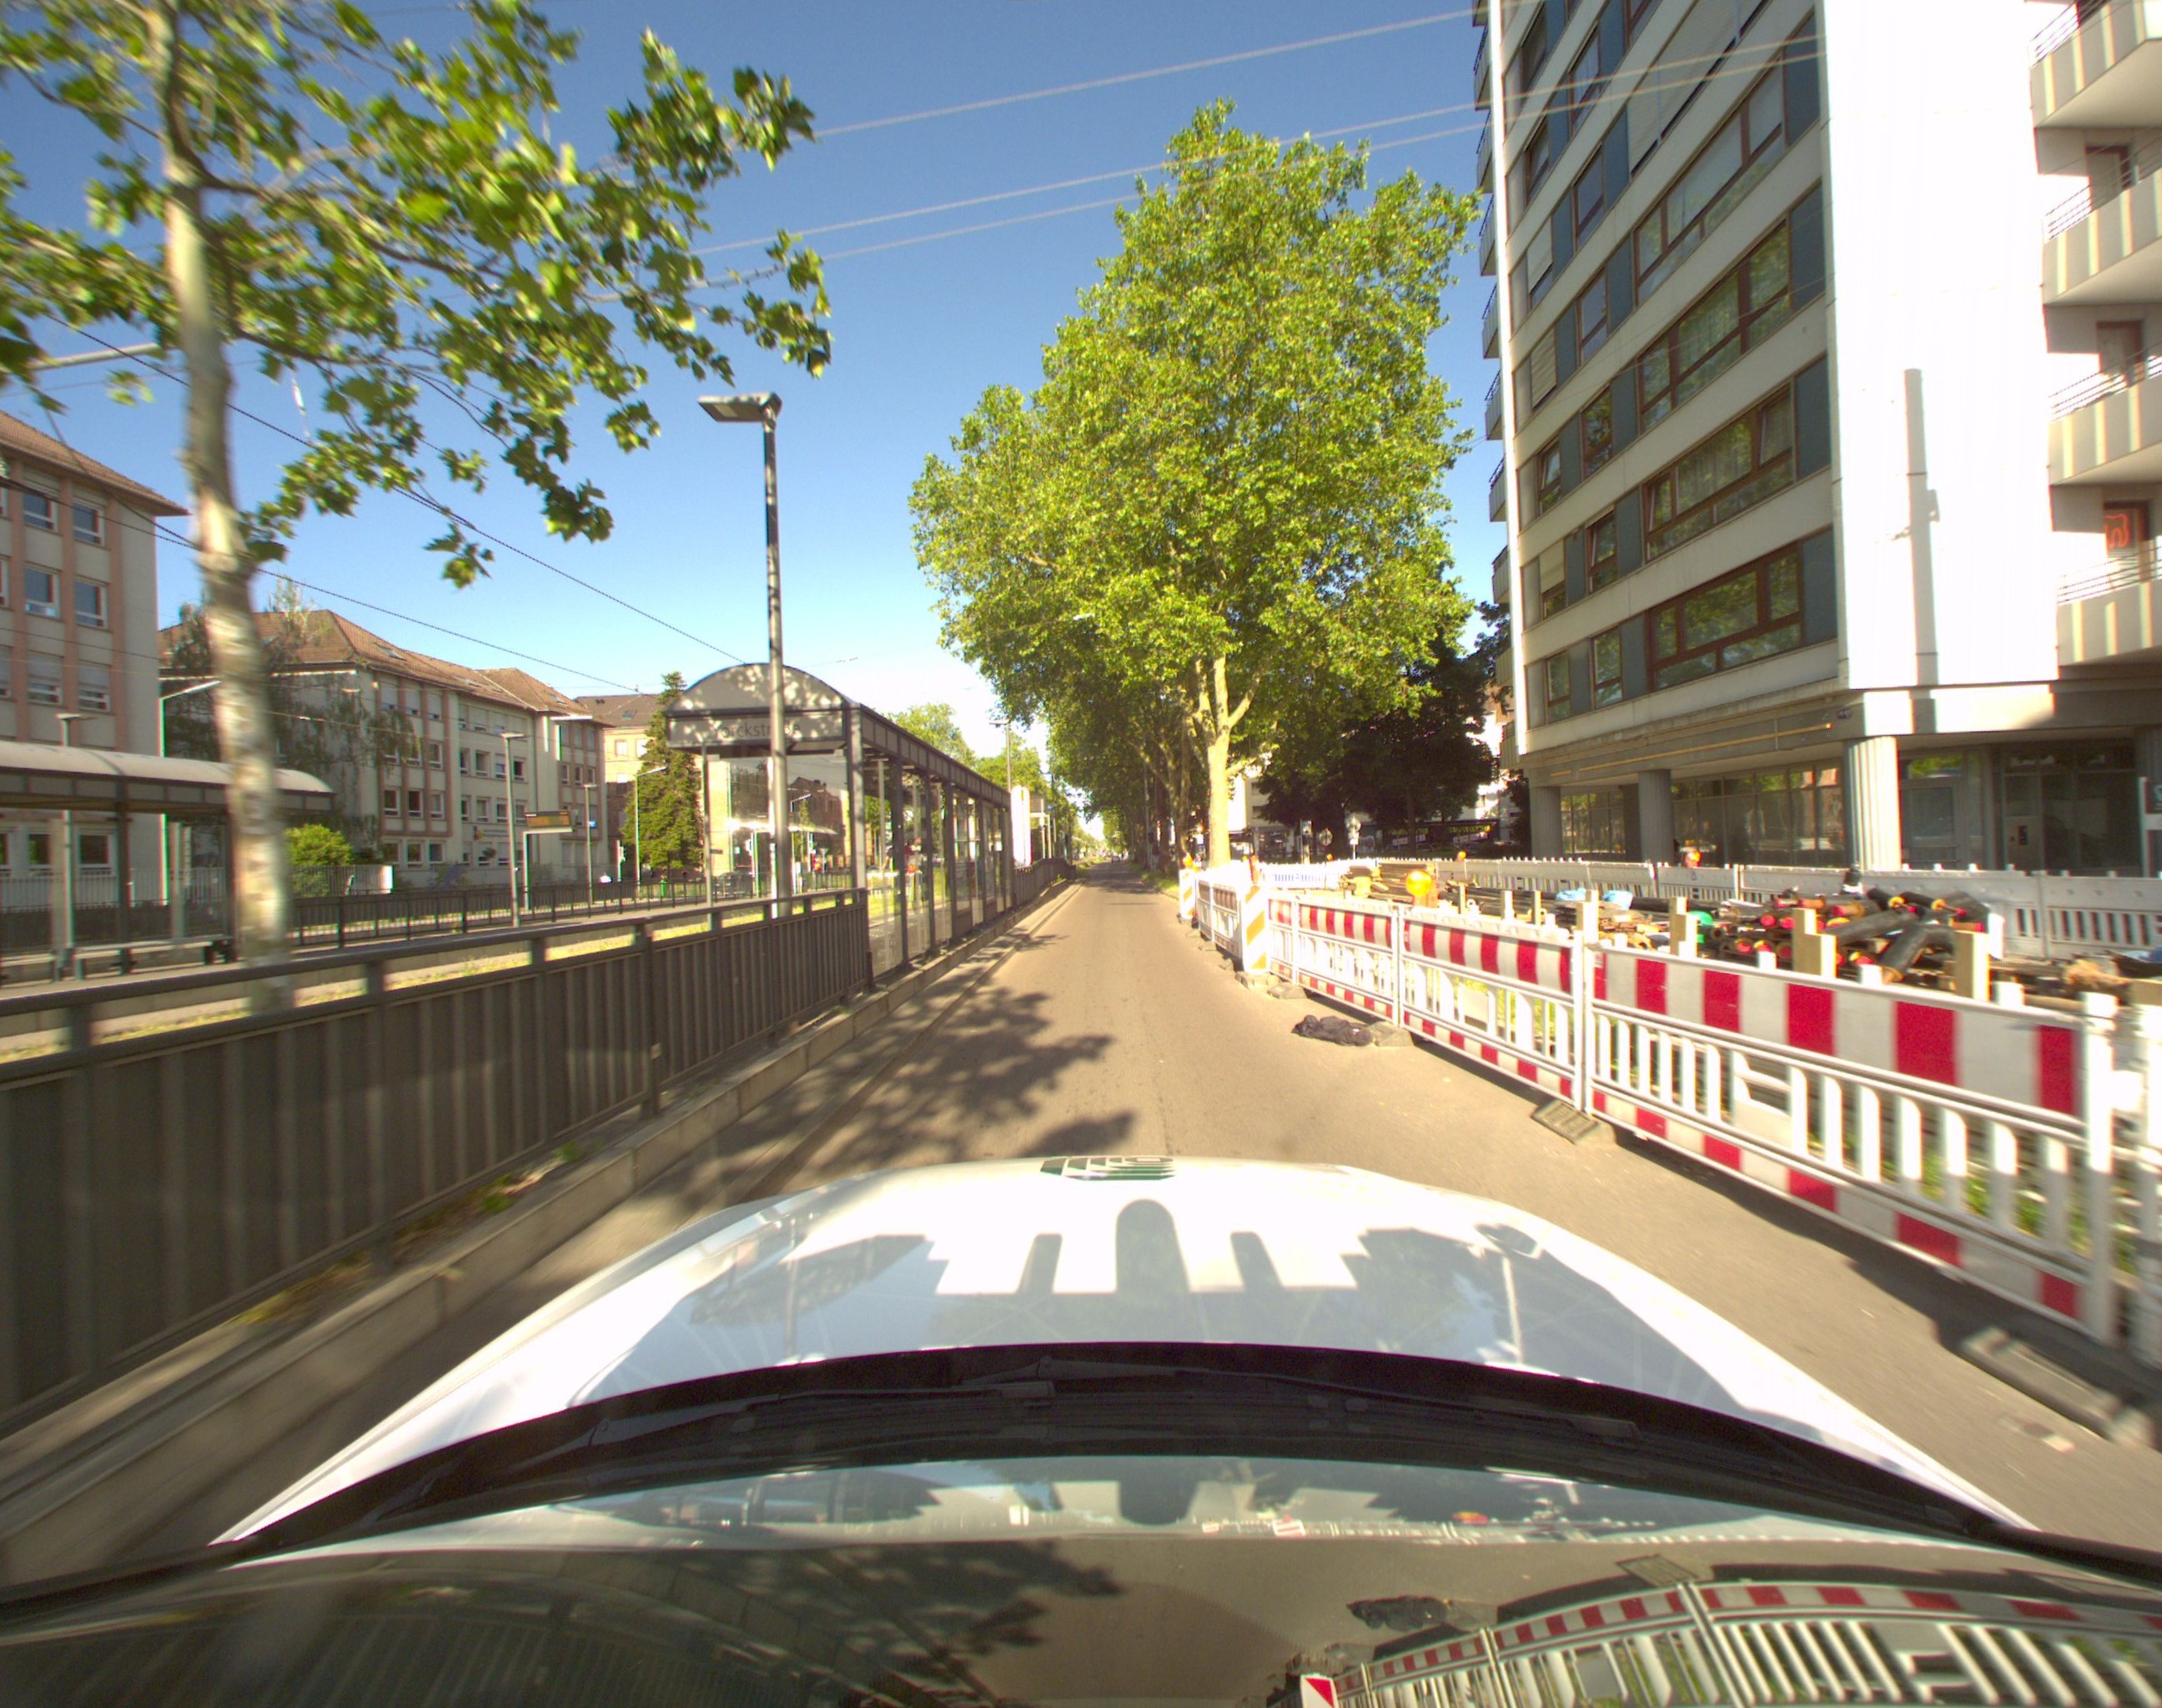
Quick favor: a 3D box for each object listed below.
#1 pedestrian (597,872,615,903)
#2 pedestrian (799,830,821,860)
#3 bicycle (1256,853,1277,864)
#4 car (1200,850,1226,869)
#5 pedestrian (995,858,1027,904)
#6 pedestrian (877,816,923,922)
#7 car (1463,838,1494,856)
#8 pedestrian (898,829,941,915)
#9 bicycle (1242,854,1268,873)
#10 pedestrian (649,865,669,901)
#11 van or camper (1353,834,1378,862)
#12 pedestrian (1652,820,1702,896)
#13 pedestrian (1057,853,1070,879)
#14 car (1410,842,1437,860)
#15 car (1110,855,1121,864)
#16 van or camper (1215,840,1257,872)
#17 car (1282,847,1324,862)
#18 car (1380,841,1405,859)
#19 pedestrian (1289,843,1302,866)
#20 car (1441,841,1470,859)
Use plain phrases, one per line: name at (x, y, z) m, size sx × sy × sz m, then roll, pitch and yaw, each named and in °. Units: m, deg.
pedestrian at (-28.565, 2.028, 49.017) m, size 0.690 × 1.837 × 0.573 m, roll -2°, pitch 0°, yaw 1°
pedestrian at (-16.301, -0.543, 49.027) m, size 0.948 × 1.736 × 0.731 m, roll -2°, pitch 0°, yaw 4°
bicycle at (19.509, 0.436, 85.733) m, size 2.118 × 1.103 × 0.511 m, roll -2°, pitch 0°, yaw 27°
car at (12.561, 0.497, 77.555) m, size 1.812 × 1.742 × 5.170 m, roll -2°, pitch 0°, yaw 2°
pedestrian at (-1.843, 0.701, 21.577) m, size 0.749 × 1.179 × 0.813 m, roll -1°, pitch 0°, yaw 1°
pedestrian at (-3.559, 0.288, 16.068) m, size 0.665 × 2.013 × 0.717 m, roll -1°, pitch 0°, yaw 3°
car at (38.723, -0.664, 79.453) m, size 1.978 × 1.628 × 4.409 m, roll -2°, pitch 0°, yaw 17°
pedestrian at (-3.439, 0.375, 17.393) m, size 0.679 × 1.784 × 0.755 m, roll -1°, pitch 0°, yaw 3°
bicycle at (12.402, 0.653, 58.071) m, size 1.600 × 1.263 × 0.962 m, roll -2°, pitch 0°, yaw -3°
pedestrian at (-24.120, 1.651, 46.558) m, size 0.660 × 2.013 × 0.861 m, roll -2°, pitch 0°, yaw 1°
van or camper at (28.658, -0.591, 82.242) m, size 2.130 × 2.636 × 5.614 m, roll -2°, pitch 0°, yaw 18°
pedestrian at (14.571, 0.098, 19.929) m, size 0.687 × 1.815 × 0.666 m, roll -2°, pitch 0°, yaw 2°
pedestrian at (-1.119, 0.760, 52.605) m, size 0.709 × 1.680 × 0.772 m, roll -2°, pitch 0°, yaw 1°
car at (33.987, -0.333, 80.865) m, size 1.978 × 1.669 × 4.766 m, roll -2°, pitch 0°, yaw 17°
car at (6.989, 1.078, 165.050) m, size 2.014 × 1.662 × 4.002 m, roll -2°, pitch 0°, yaw 2°
van or camper at (11.737, 0.169, 62.029) m, size 2.282 × 2.286 × 5.825 m, roll -2°, pitch 0°, yaw 2°
car at (25.756, 0.080, 94.321) m, size 4.550 × 1.581 × 2.009 m, roll -2°, pitch 0°, yaw 17°
car at (31.069, -0.363, 81.300) m, size 1.978 × 1.669 × 4.766 m, roll -2°, pitch 0°, yaw 17°
pedestrian at (16.041, 0.043, 60.920) m, size 0.729 × 1.616 × 1.036 m, roll -2°, pitch 0°, yaw 2°
car at (36.770, -0.395, 80.037) m, size 1.978 × 1.628 × 4.409 m, roll -2°, pitch 0°, yaw 17°
